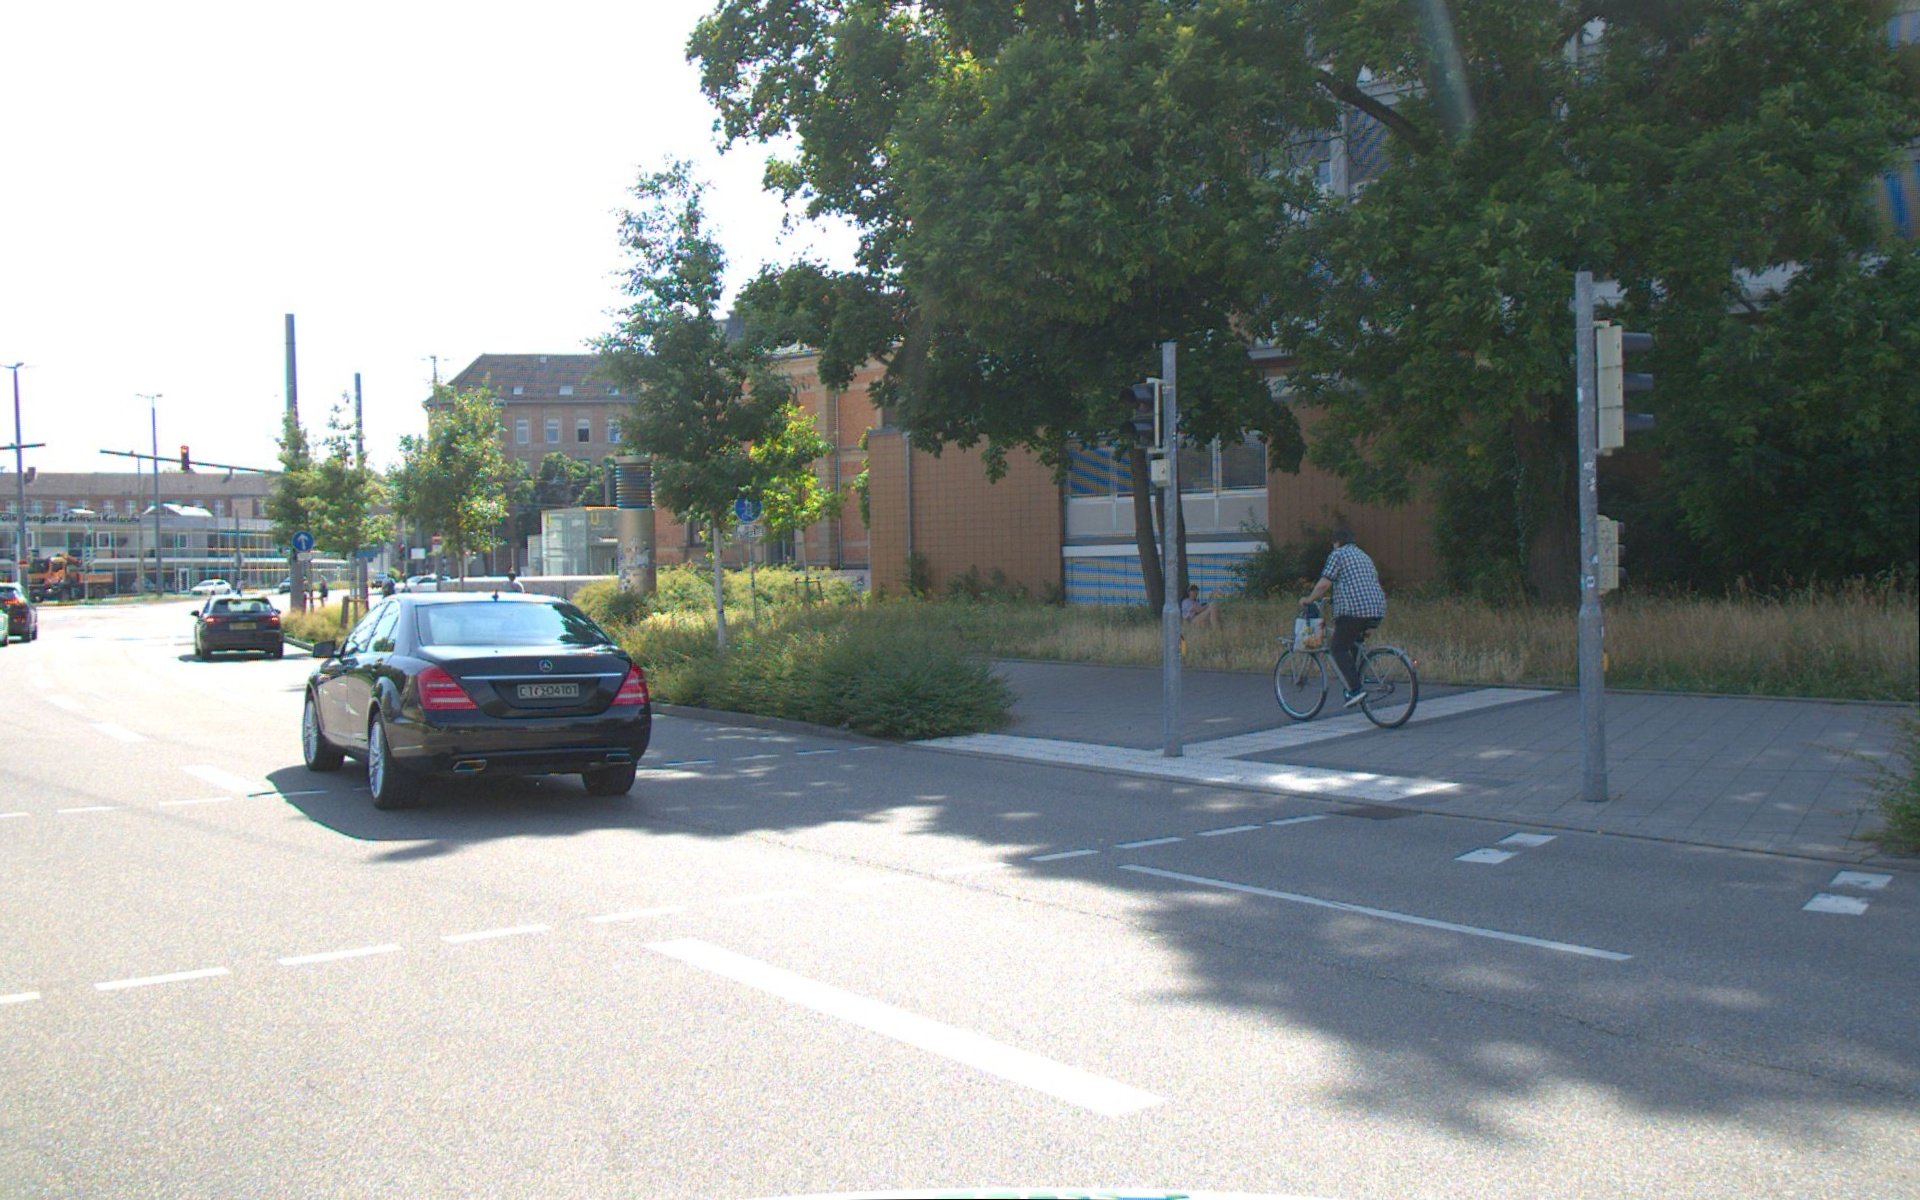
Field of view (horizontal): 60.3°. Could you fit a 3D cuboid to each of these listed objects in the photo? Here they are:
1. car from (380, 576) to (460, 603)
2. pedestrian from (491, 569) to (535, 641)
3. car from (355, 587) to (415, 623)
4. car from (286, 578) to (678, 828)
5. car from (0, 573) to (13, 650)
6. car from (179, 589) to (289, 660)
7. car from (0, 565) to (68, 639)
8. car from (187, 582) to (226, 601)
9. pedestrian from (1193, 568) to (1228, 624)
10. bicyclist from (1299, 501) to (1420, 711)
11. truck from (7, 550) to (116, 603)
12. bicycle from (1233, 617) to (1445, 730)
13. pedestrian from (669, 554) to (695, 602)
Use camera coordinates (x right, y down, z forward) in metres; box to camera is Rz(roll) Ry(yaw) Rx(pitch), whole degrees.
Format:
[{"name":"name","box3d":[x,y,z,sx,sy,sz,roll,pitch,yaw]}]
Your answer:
[{"name":"car","box3d":[-32.632,-0.644,100.020,1.769,1.536,4.250,0,1,43]},{"name":"pedestrian","box3d":[-11.215,0.117,41.519,0.862,1.755,0.791,-1,1,-32]},{"name":"car","box3d":[-26.211,0.191,75.534,1.761,1.536,4.269,-1,1,-8]},{"name":"car","box3d":[-3.958,0.680,13.063,1.840,1.556,4.664,-2,0,-31]},{"name":"car","box3d":[-24.987,0.286,41.355,1.969,1.847,3.966,-1,1,-26]},{"name":"car","box3d":[-16.699,0.529,37.972,1.777,1.537,3.956,0,0,-32]},{"name":"car","box3d":[-27.124,0.039,47.792,1.967,2.048,3.971,-1,1,-23]},{"name":"car","box3d":[-64.513,-0.764,141.664,1.759,1.536,3.996,-1,1,-5]},{"name":"pedestrian","box3d":[4.120,-0.070,27.217,0.422,0.907,0.390,0,1,45]},{"name":"bicyclist","box3d":[3.770,0.044,15.623,0.681,1.911,0.847,-2,1,-40]},{"name":"truck","box3d":[-66.521,-1.758,122.670,2.998,3.795,7.937,-1,1,7]},{"name":"bicycle","box3d":[3.601,0.669,15.851,0.688,0.962,1.930,-5,3,-39]},{"name":"pedestrian","box3d":[-9.805,-0.775,58.314,0.639,1.690,0.646,0,1,43]}]
